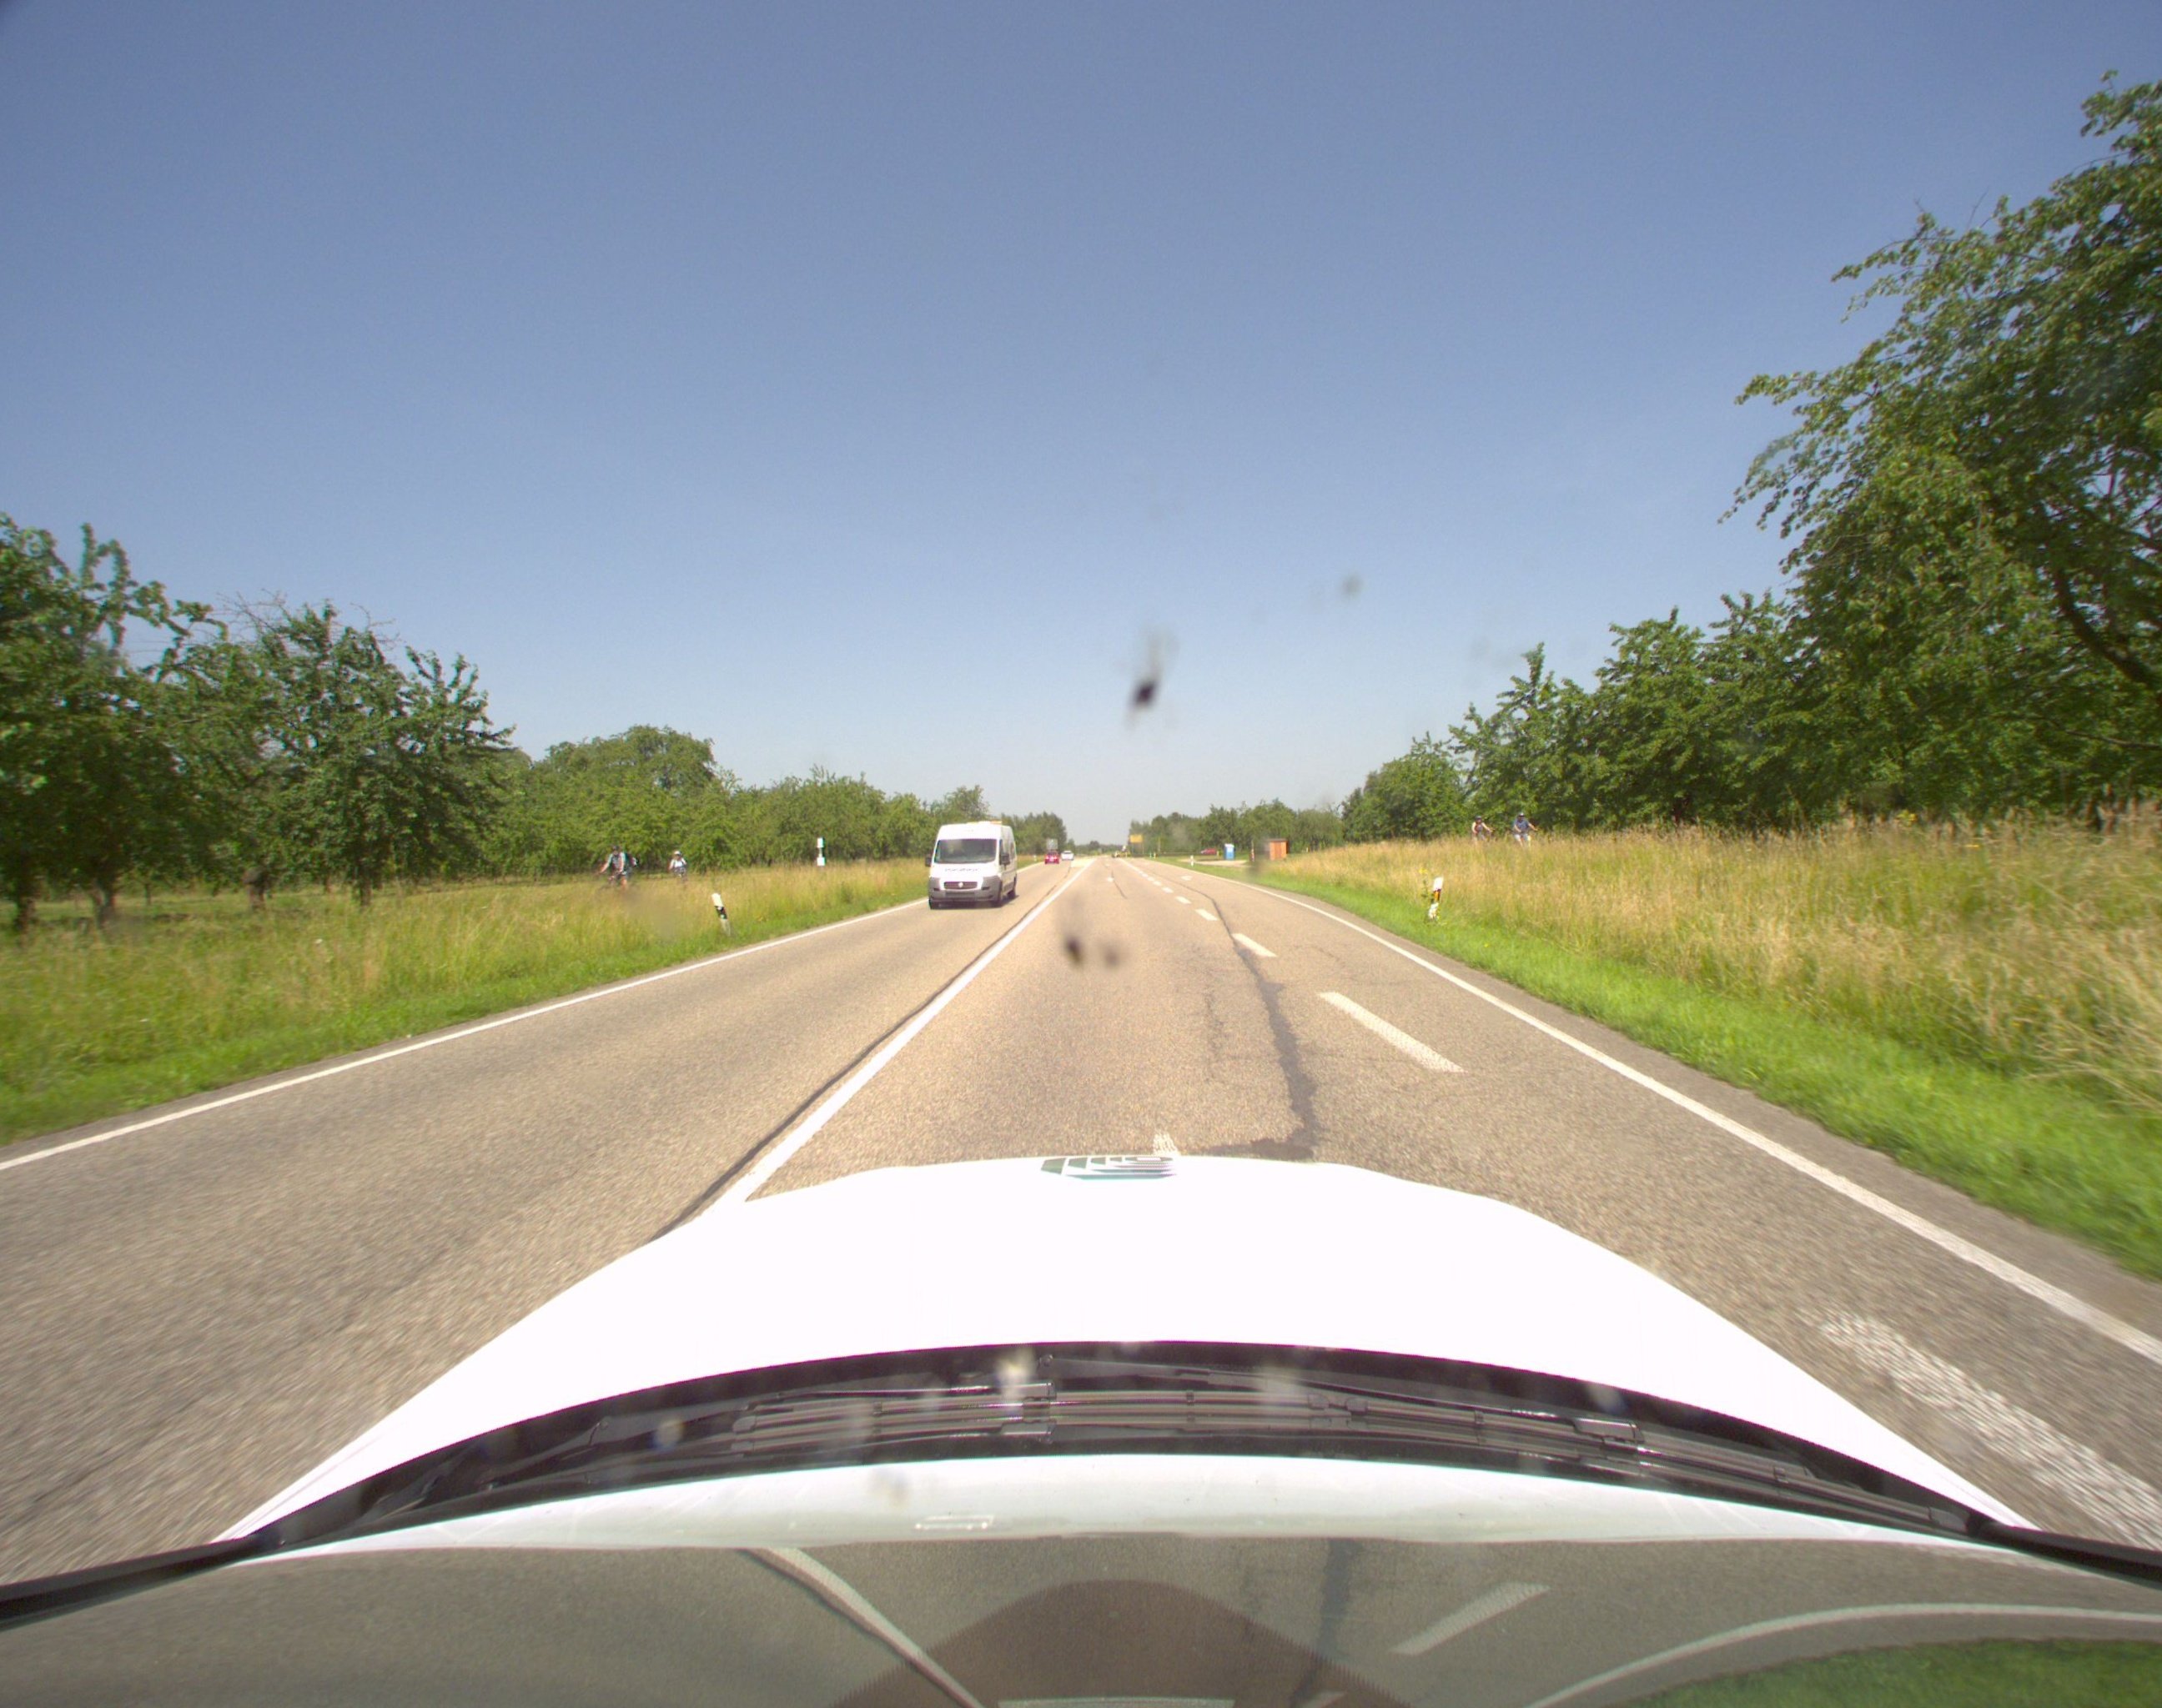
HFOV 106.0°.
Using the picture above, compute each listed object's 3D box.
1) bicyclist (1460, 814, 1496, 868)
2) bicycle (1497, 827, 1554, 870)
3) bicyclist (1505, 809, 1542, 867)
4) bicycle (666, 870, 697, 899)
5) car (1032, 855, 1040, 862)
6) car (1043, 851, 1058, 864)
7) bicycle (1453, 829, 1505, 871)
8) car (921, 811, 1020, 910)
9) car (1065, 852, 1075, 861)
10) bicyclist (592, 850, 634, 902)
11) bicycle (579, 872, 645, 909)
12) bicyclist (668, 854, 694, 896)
[{"bbox_3d":[14.049,-0.452,28.838,0.747,1.866,0.869,-3,0,1],"label":"bicyclist"},{"bbox_3d":[15.406,-0.187,28.313,0.747,1.418,2.222,-3,0,1],"label":"bicycle"},{"bbox_3d":[15.386,-0.550,28.324,0.747,1.929,0.828,-3,0,1],"label":"bicyclist"},{"bbox_3d":[-14.354,1.083,29.244,0.745,0.989,2.202,0,-1,-33],"label":"bicycle"},{"bbox_3d":[-10.027,0.984,180.135,1.700,1.423,4.039,-2,0,-2],"label":"car"},{"bbox_3d":[-3.571,0.412,96.361,1.620,1.457,3.621,-1,0,0],"label":"car"},{"bbox_3d":[14.058,-0.141,28.817,0.747,1.418,2.222,-3,0,1],"label":"bicycle"},{"bbox_3d":[-3.245,0.190,25.258,2.154,2.669,6.143,-1,0,0],"label":"car"},{"bbox_3d":[-1.746,0.383,130.783,1.670,1.494,4.136,-1,0,0],"label":"car"},{"bbox_3d":[-13.182,0.608,22.968,0.639,1.414,0.863,-1,-1,2],"label":"bicyclist"},{"bbox_3d":[-13.175,1.003,22.953,0.646,0.989,1.956,-1,-1,2],"label":"bicycle"},{"bbox_3d":[-14.348,0.751,29.226,0.745,1.455,0.855,0,-1,-33],"label":"bicyclist"}]
